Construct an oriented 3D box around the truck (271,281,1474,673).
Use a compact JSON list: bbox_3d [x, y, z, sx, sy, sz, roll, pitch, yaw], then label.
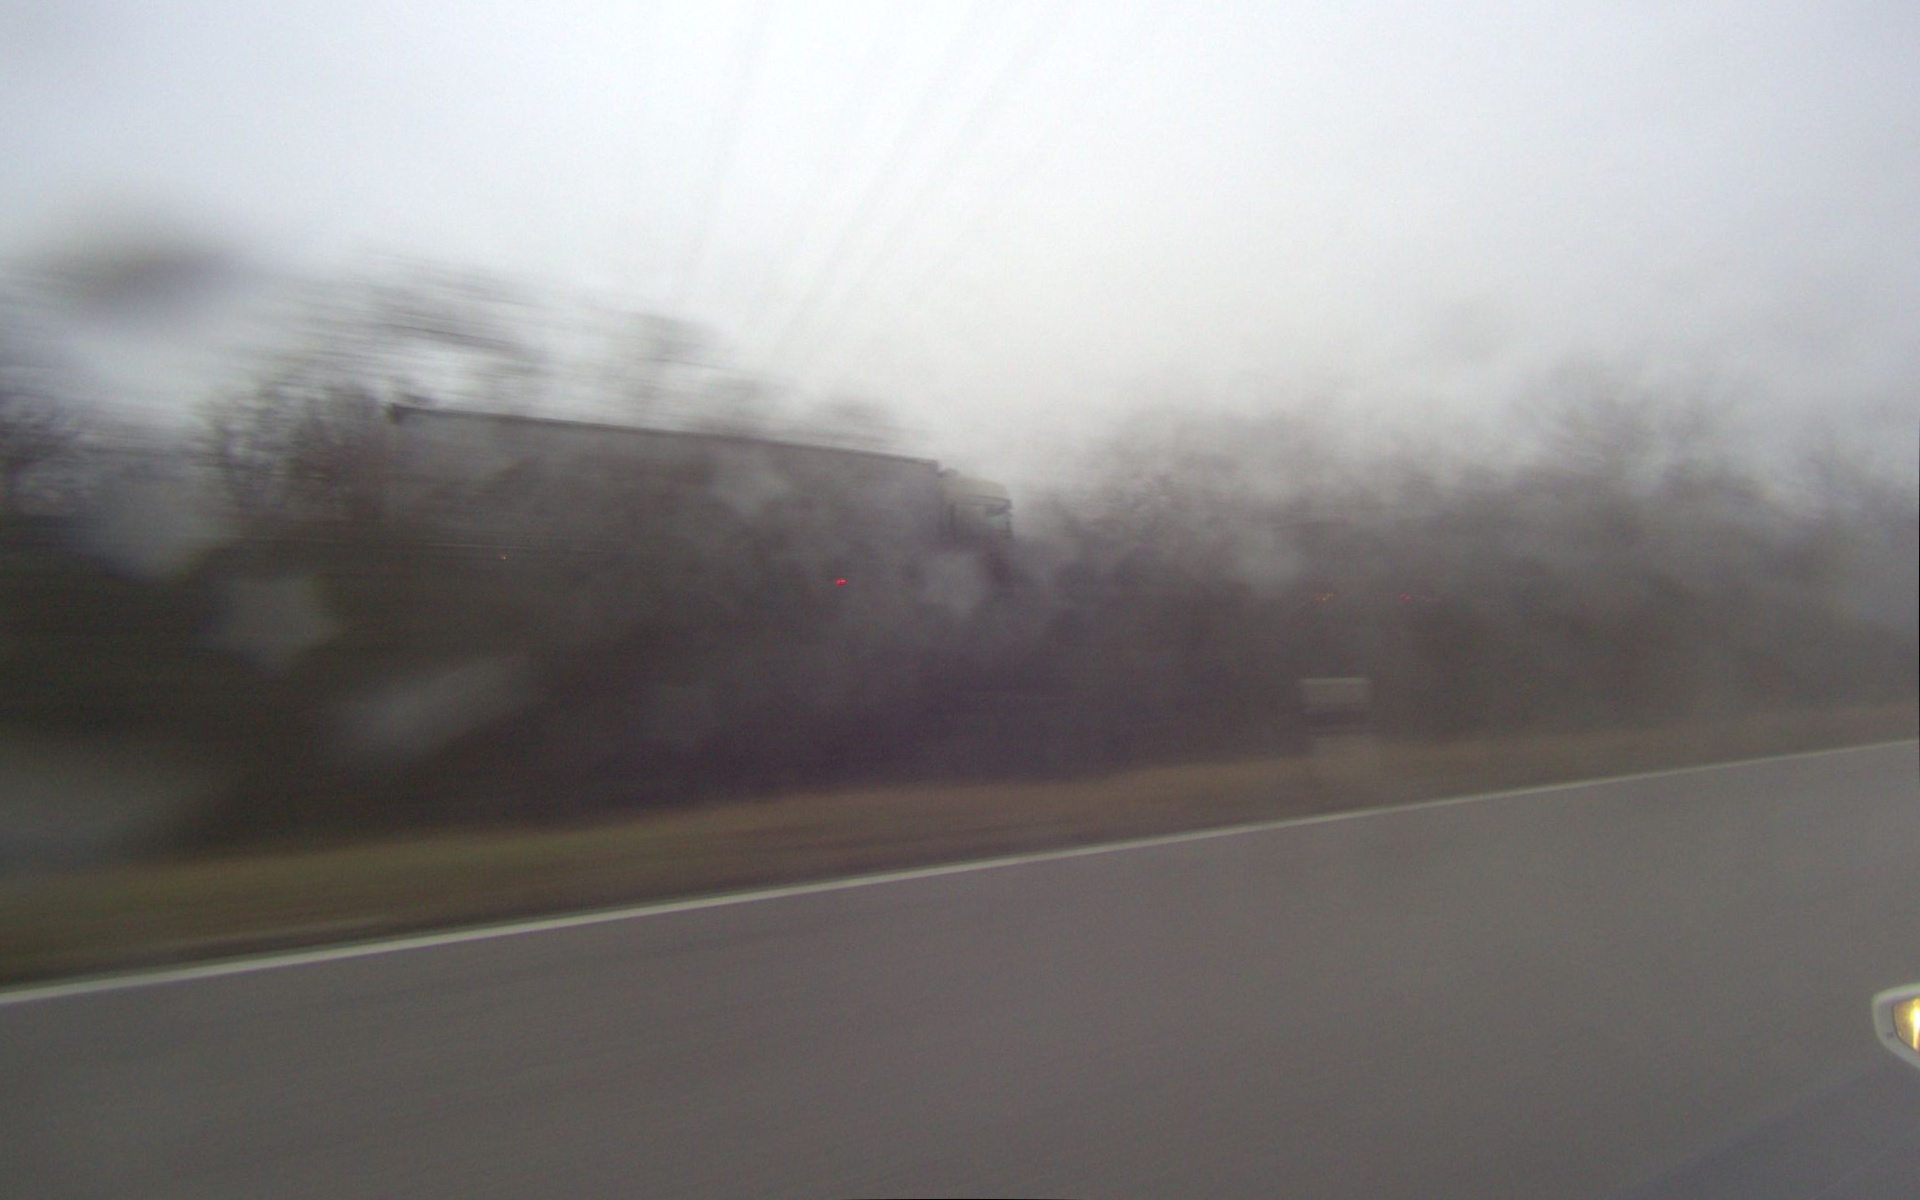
[{"bbox_3d":[1.579,-1.936,33.407,39.680,7.815,7.507,2,0,-31],"label":"truck"}]
